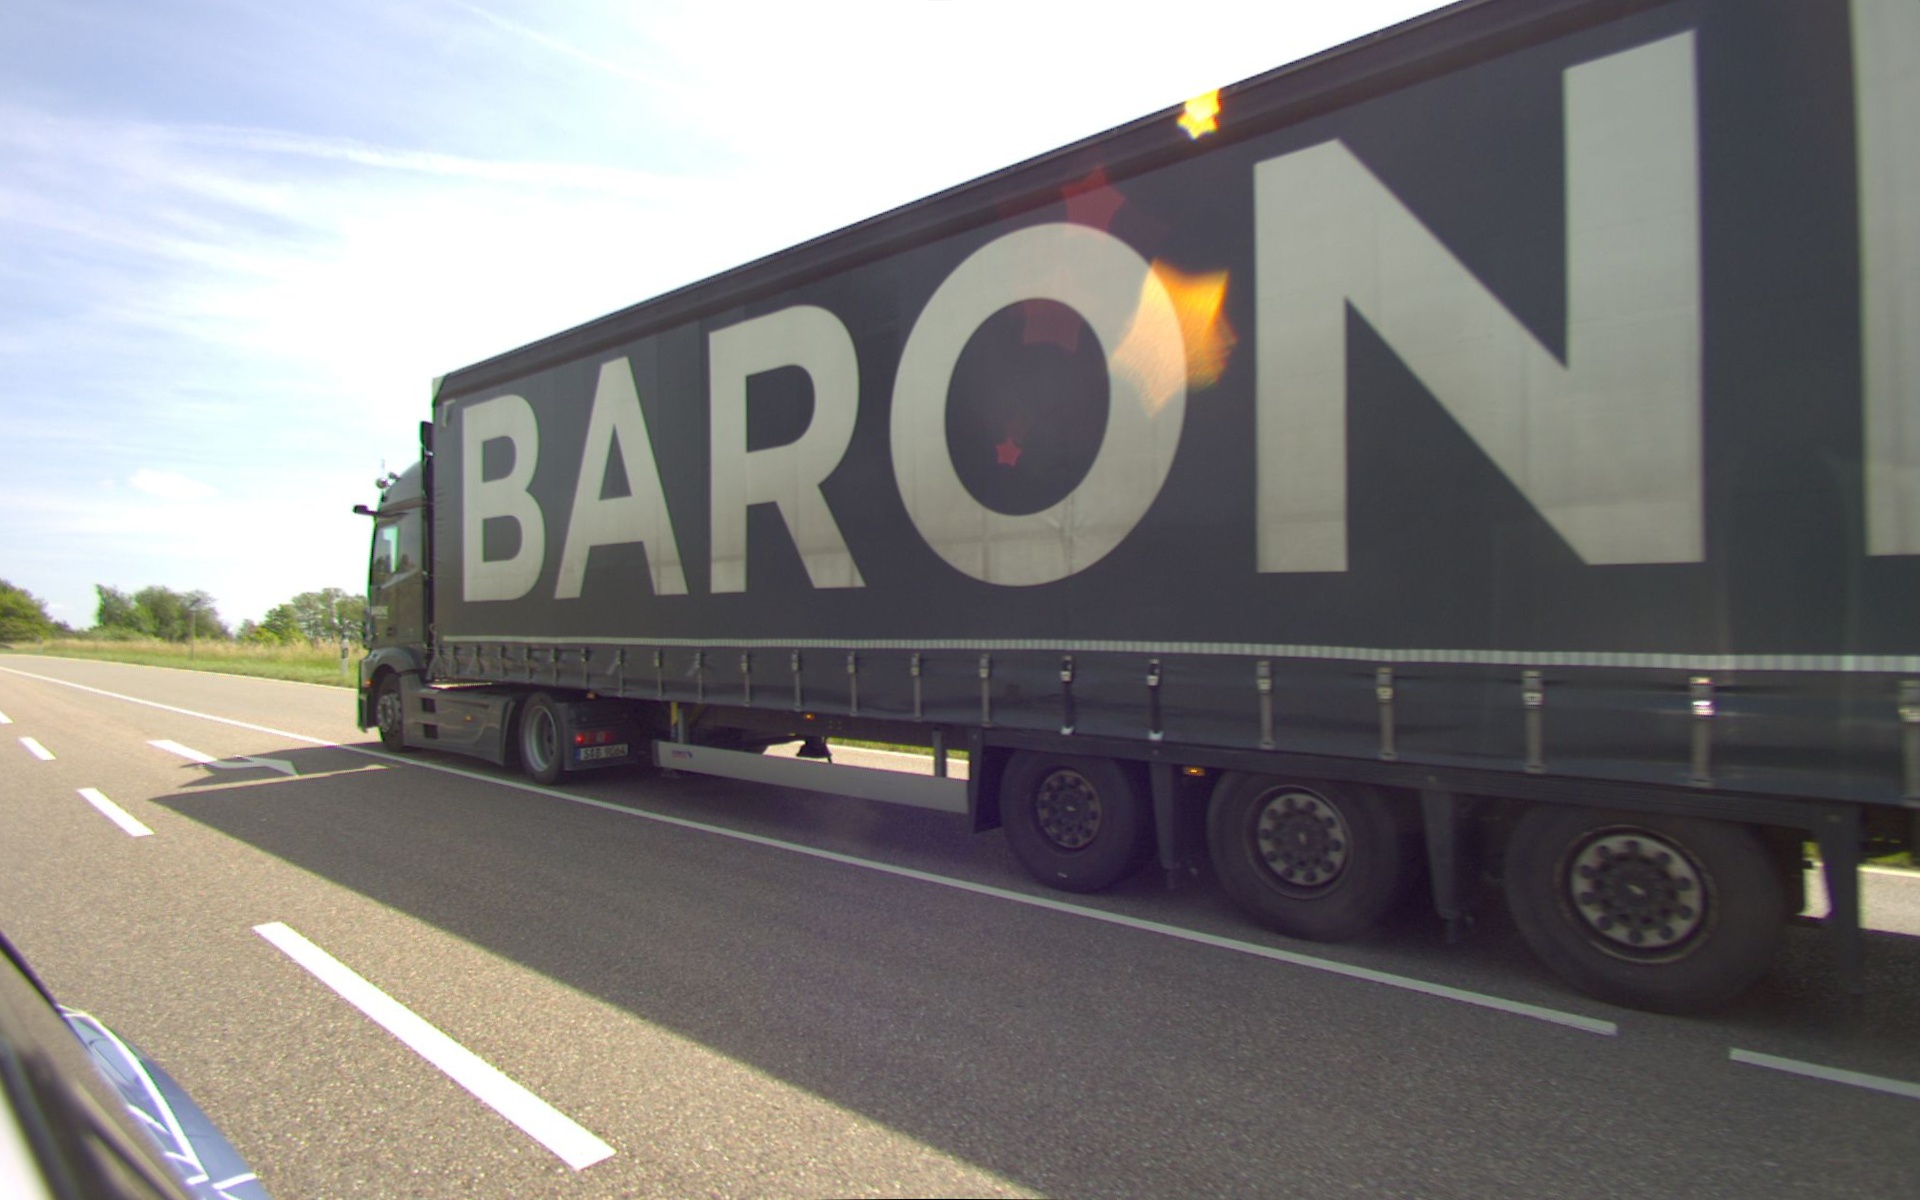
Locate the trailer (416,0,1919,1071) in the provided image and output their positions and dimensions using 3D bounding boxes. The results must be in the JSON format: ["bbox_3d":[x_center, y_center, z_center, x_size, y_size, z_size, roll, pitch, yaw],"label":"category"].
[{"bbox_3d":[0.349,-0.490,7.162,13.731,4.174,2.566,-2,-2,40],"label":"trailer"}]

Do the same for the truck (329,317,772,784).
[{"bbox_3d":[-4.909,-0.365,11.724,5.439,4.135,2.558,-2,-2,41],"label":"truck"}]
